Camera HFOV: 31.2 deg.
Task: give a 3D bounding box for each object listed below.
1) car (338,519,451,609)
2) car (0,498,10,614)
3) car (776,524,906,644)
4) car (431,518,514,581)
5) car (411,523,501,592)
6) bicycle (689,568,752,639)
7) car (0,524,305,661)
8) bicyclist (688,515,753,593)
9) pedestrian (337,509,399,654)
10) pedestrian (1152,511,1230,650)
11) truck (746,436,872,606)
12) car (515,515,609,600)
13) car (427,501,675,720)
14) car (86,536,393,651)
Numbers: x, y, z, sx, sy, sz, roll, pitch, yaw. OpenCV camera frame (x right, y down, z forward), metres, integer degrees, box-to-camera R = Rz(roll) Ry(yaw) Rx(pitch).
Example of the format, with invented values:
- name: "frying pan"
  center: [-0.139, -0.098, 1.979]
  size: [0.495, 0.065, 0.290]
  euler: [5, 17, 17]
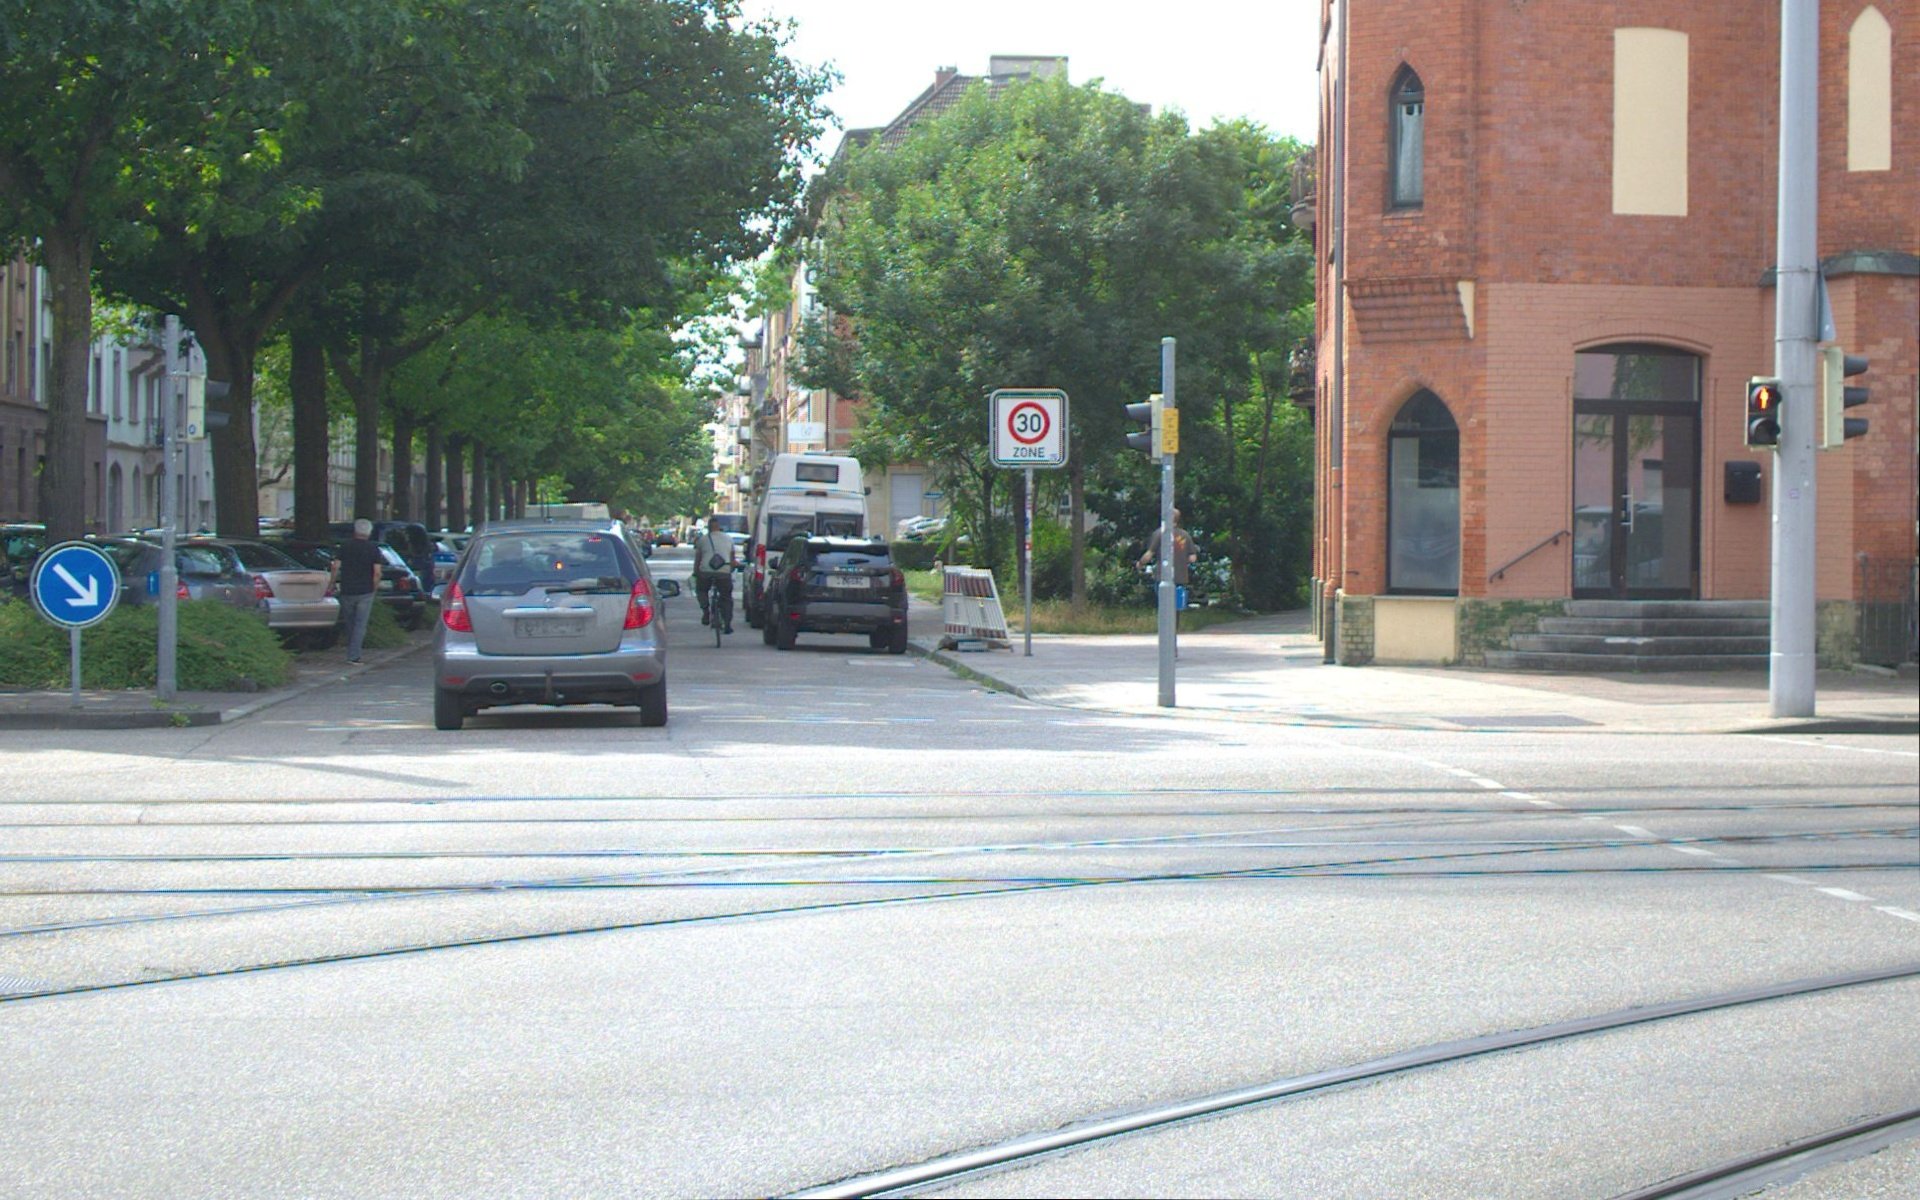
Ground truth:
- name: "car"
  center: [-10.586, -0.697, 64.481]
  size: [1.752, 1.627, 3.500]
  euler: [1, 1, -4]
- name: "car"
  center: [-14.185, -0.582, 46.795]
  size: [1.993, 1.612, 4.001]
  euler: [0, 1, -10]
- name: "car"
  center: [-1.663, -0.263, 48.916]
  size: [1.752, 1.627, 3.500]
  euler: [1, 1, -1]
- name: "car"
  center: [-12.059, -1.277, 85.204]
  size: [1.752, 1.512, 3.500]
  euler: [1, 1, -4]
- name: "car"
  center: [-11.464, -0.982, 78.395]
  size: [1.752, 1.512, 3.500]
  euler: [1, 1, -4]
- name: "bicycle"
  center: [-3.371, 0.035, 48.580]
  size: [0.749, 0.955, 2.299]
  euler: [0, 1, -1]
- name: "car"
  center: [-9.652, -0.125, 40.476]
  size: [1.969, 1.489, 3.998]
  euler: [-1, 2, -43]
- name: "bicyclist"
  center: [-3.380, -0.657, 48.573]
  size: [0.836, 1.078, 1.400]
  euler: [0, 1, -1]
- name: "pedestrian"
  center: [-7.127, -0.226, 41.397]
  size: [0.652, 1.719, 0.494]
  euler: [1, 1, -1]
- name: "pedestrian"
  center: [2.782, -0.242, 41.493]
  size: [0.869, 1.651, 0.736]
  euler: [1, 1, 0]
- name: "truck"
  center: [-2.679, -1.419, 61.765]
  size: [2.123, 2.960, 4.000]
  euler: [0, 1, -1]
- name: "car"
  center: [-8.211, -0.899, 71.154]
  size: [1.722, 1.700, 3.678]
  euler: [0, 1, -3]
- name: "car"
  center: [-3.156, 0.035, 27.104]
  size: [1.722, 1.600, 3.678]
  euler: [0, 1, -3]
- name: "car"
  center: [-9.080, -0.112, 43.139]
  size: [1.969, 1.334, 3.998]
  euler: [-1, 2, -43]
